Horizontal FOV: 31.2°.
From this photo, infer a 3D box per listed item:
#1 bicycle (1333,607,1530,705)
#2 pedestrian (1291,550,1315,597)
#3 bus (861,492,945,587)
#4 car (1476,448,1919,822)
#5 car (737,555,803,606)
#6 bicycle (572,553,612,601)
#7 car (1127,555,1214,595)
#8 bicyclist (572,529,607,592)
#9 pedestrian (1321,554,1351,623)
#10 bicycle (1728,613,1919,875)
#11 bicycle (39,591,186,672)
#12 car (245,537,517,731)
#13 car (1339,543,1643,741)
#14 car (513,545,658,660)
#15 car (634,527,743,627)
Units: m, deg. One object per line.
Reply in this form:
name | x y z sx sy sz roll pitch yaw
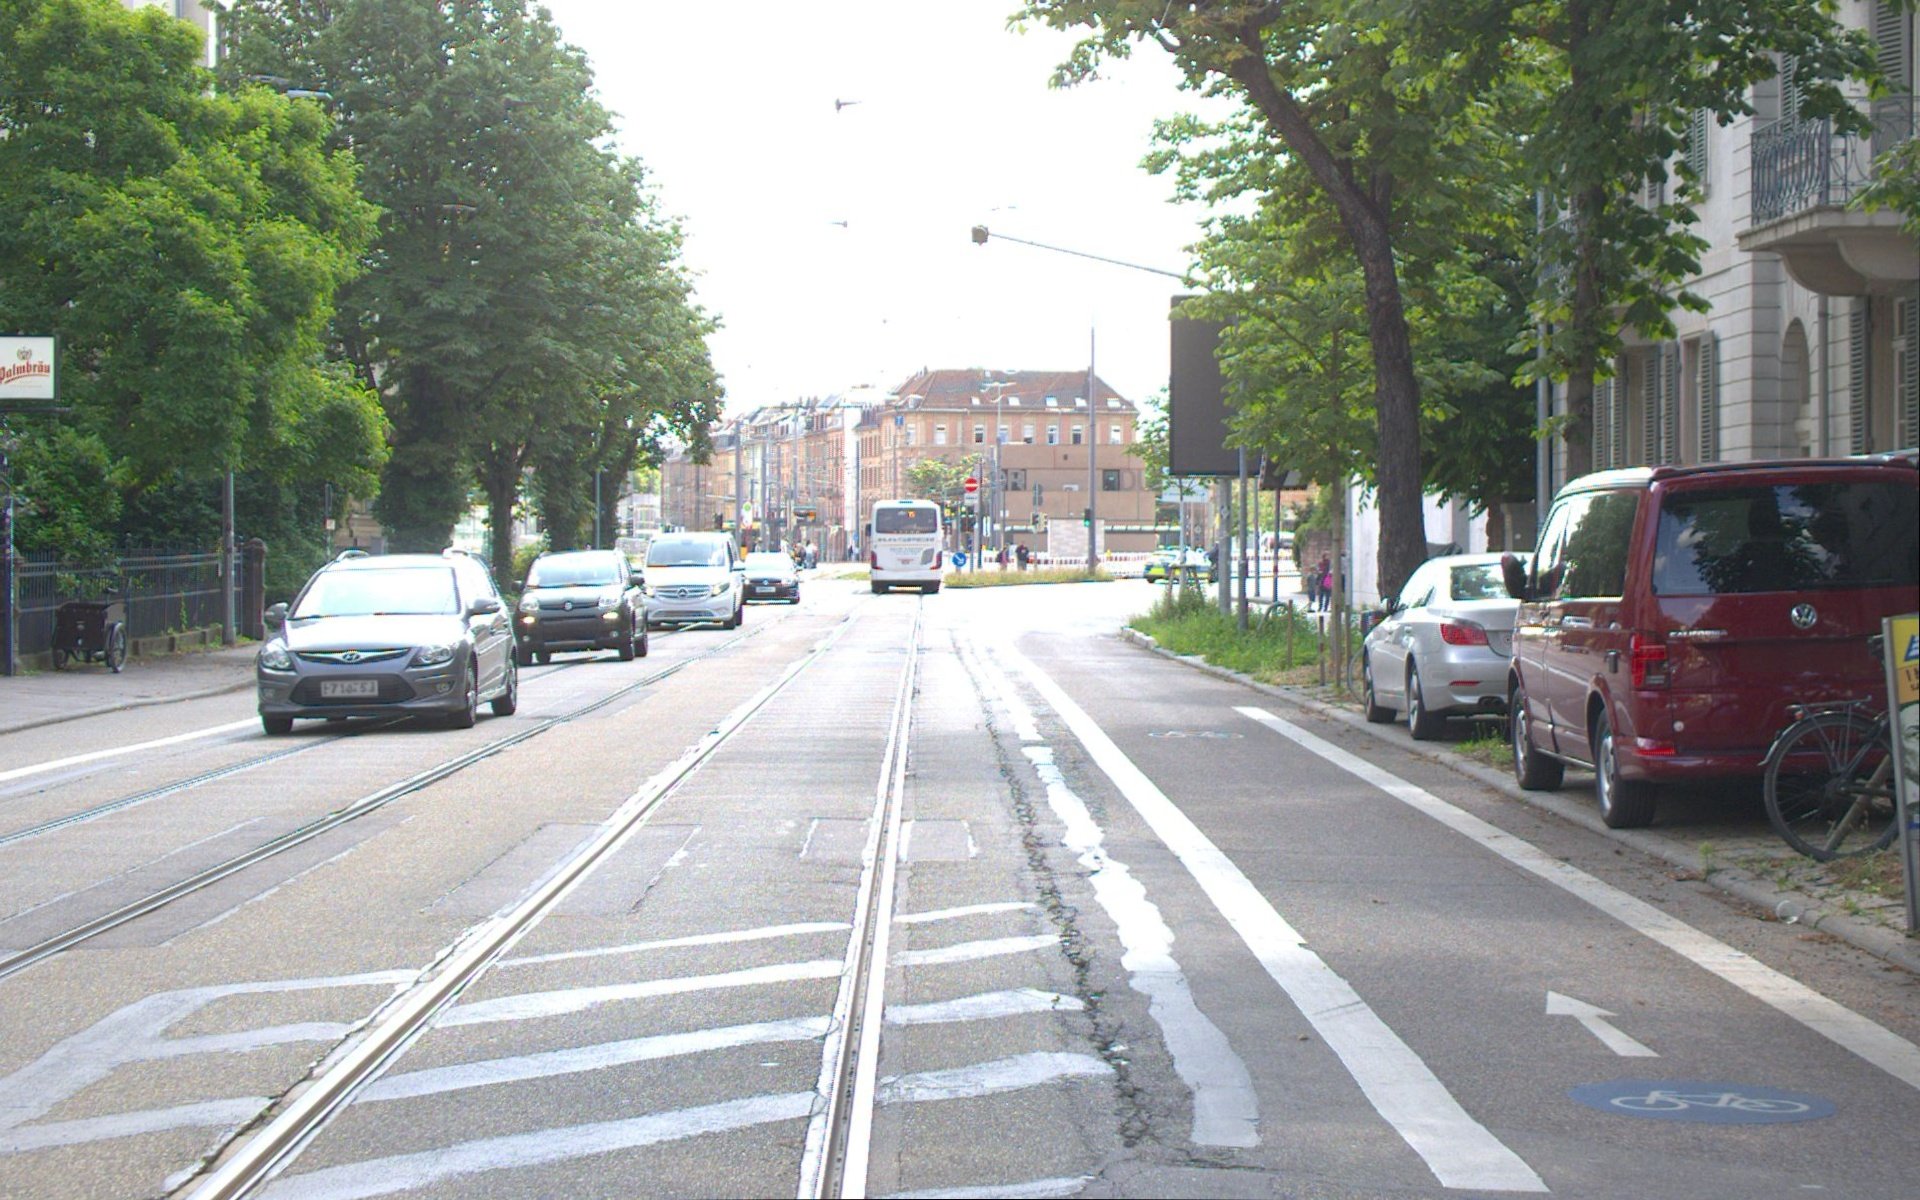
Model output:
bicycle | 4.429 0.523 32.360 1.776 0.899 0.692 0 1 3
pedestrian | 8.911 -0.694 89.281 0.421 1.196 0.406 -3 2 -33
bus | -2.126 -2.179 127.413 2.917 3.317 12.207 1 0 -1
car | 4.388 0.144 20.252 1.895 1.934 4.951 0 1 -1
car | -5.359 -0.572 97.226 1.688 1.397 3.931 -1 1 -1
bicycle | -9.014 -0.580 84.193 0.602 1.093 2.022 -5 1 2
car | 9.408 -1.129 153.541 2.134 1.678 4.094 2 2 33
bicyclist | -9.057 -0.973 84.129 0.599 1.487 0.882 -5 1 2
pedestrian | 9.658 -0.293 88.369 0.685 1.718 0.747 -1 2 3
bicycle | 4.491 0.666 16.175 1.610 1.199 0.590 0 1 -3
bicycle | -10.915 0.387 44.392 1.142 0.905 2.989 3 1 -1
car | -4.931 0.245 29.777 1.727 1.535 4.277 -1 1 -2
car | 4.283 0.285 28.415 1.707 1.493 4.789 0 1 -1
car | -5.236 0.008 48.383 1.631 1.551 3.822 0 1 0
car | -5.339 -0.477 68.070 1.897 1.901 5.385 0 1 -2
